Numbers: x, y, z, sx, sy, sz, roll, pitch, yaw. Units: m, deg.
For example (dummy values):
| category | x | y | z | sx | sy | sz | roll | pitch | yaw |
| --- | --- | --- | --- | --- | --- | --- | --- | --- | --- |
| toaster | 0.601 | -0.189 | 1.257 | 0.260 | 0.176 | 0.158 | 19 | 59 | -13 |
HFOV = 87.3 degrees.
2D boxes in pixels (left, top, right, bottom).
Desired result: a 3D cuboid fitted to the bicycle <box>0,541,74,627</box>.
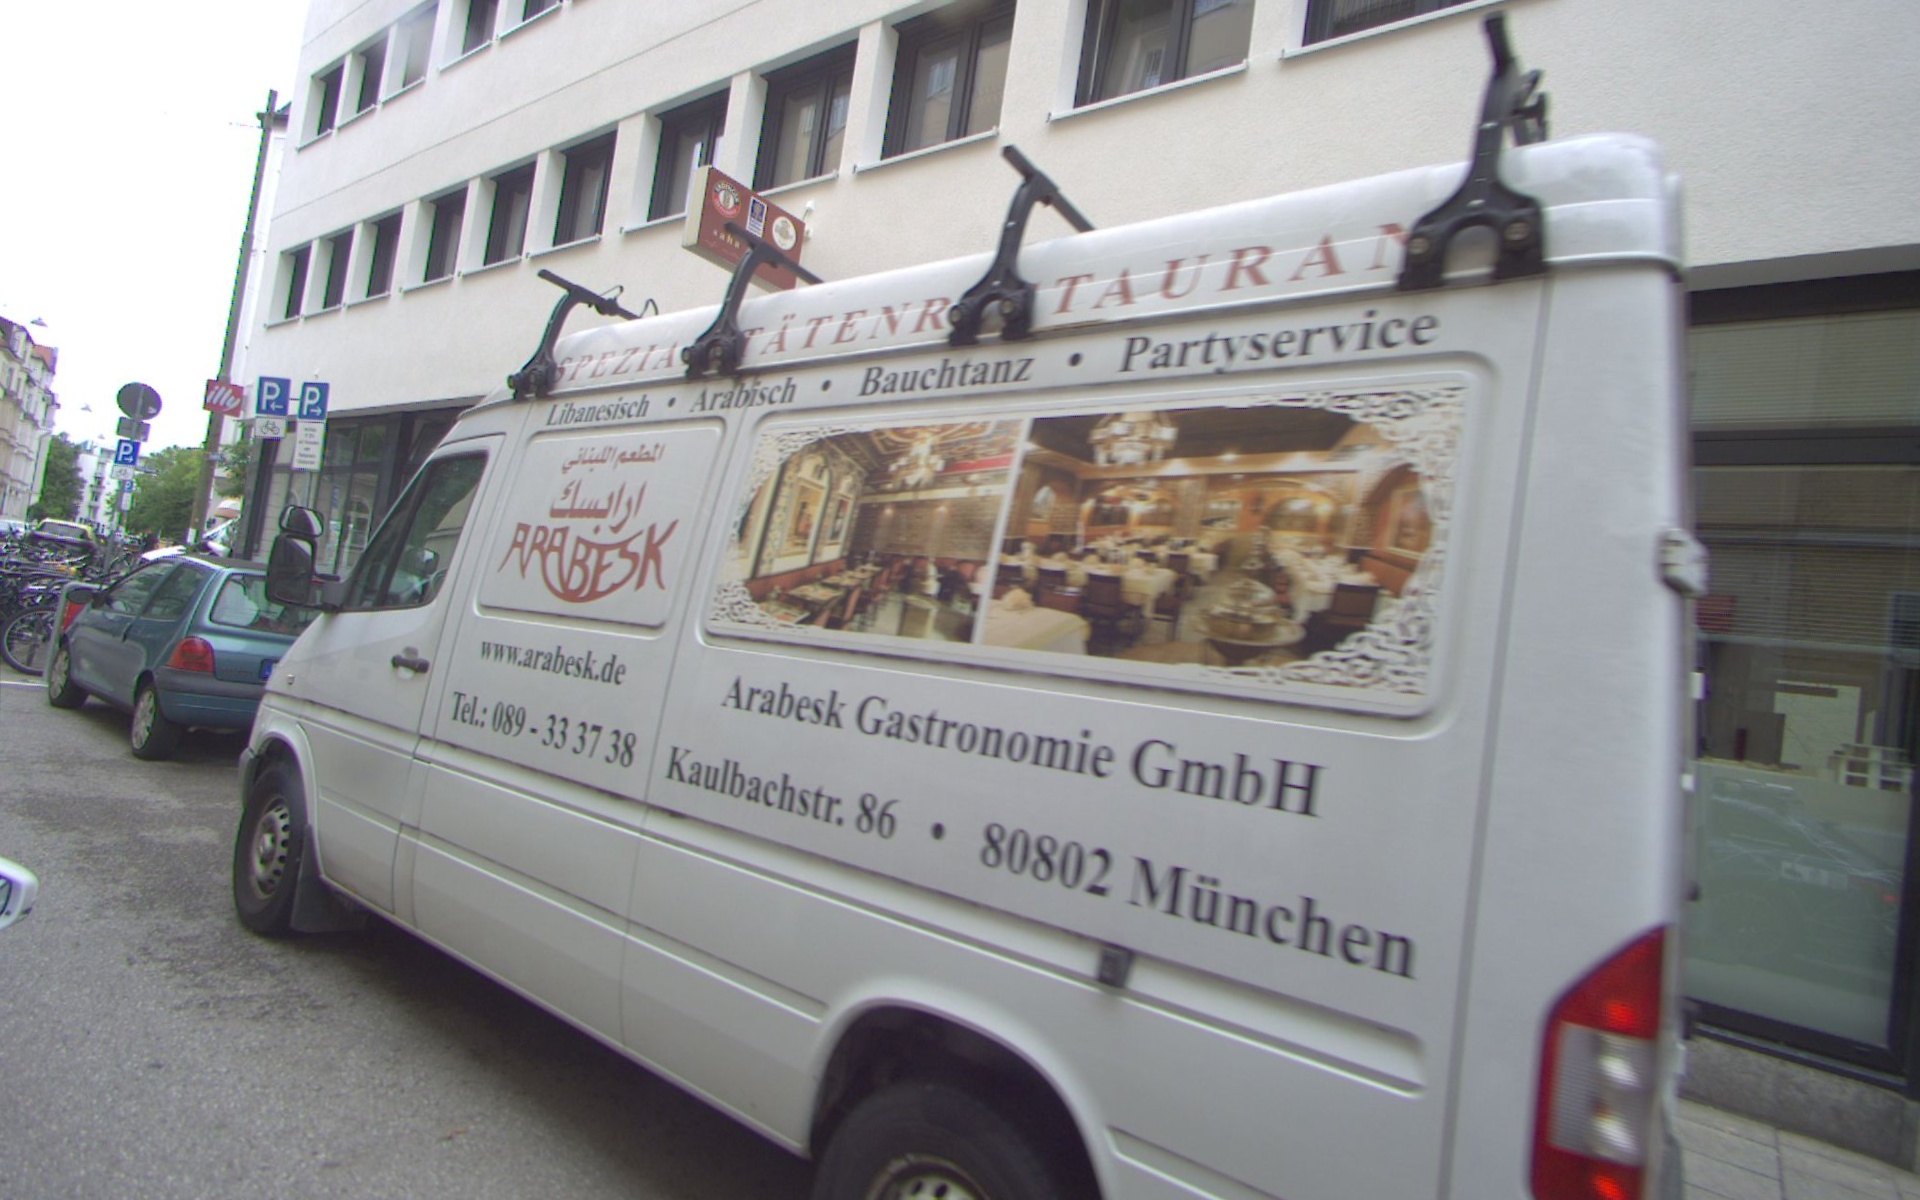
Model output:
| category | x | y | z | sx | sy | sz | roll | pitch | yaw |
| --- | --- | --- | --- | --- | --- | --- | --- | --- | --- |
| bicycle | -13.569 | -0.290 | 14.065 | 0.372 | 1.091 | 1.616 | 8 | -3 | 35 |

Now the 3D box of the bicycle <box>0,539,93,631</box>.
| category | x | y | z | sx | sy | sz | roll | pitch | yaw |
| --- | --- | --- | --- | --- | --- | --- | --- | --- | --- |
| bicycle | -12.943 | -0.266 | 13.458 | 0.396 | 1.091 | 1.878 | 8 | -3 | 35 |

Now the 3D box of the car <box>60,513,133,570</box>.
| category | x | y | z | sx | sy | sz | roll | pitch | yaw |
| --- | --- | --- | --- | --- | --- | --- | --- | --- | --- |
| car | -36.470 | -2.441 | 42.583 | 1.815 | 1.889 | 4.246 | 14 | -6 | -37 |

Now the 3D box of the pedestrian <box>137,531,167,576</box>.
| category | x | y | z | sx | sy | sz | roll | pitch | yaw |
| --- | --- | --- | --- | --- | --- | --- | --- | --- | --- |
| pedestrian | -36.808 | -2.114 | 45.819 | 0.775 | 1.871 | 1.013 | 10 | -3 | -37 |

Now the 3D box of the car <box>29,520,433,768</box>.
| category | x | y | z | sx | sy | sz | roll | pitch | yaw |
| --- | --- | --- | --- | --- | --- | --- | --- | --- | --- |
| car | -6.051 | 0.302 | 8.234 | 3.498 | 1.479 | 1.582 | 6 | -4 | 37 |

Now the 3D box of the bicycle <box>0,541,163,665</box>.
| category | x | y | z | sx | sy | sz | roll | pitch | yaw |
| --- | --- | --- | --- | --- | --- | --- | --- | --- | --- |
| bicycle | -10.404 | 0.013 | 11.441 | 0.556 | 1.168 | 1.878 | 8 | -5 | 36 |

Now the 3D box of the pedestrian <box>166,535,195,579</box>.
| category | x | y | z | sx | sy | sz | roll | pitch | yaw |
| --- | --- | --- | --- | --- | --- | --- | --- | --- | --- |
| pedestrian | -35.702 | -1.948 | 46.077 | 0.775 | 1.871 | 1.013 | 10 | -3 | -37 |

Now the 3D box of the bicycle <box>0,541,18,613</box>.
| category | x | y | z | sx | sy | sz | roll | pitch | yaw |
| --- | --- | --- | --- | --- | --- | --- | --- | --- | --- |
| bicycle | -15.284 | -0.456 | 15.117 | 0.455 | 1.080 | 1.456 | 7 | -4 | 31 |

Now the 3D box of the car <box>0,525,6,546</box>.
| category | x | y | z | sx | sy | sz | roll | pitch | yaw |
| --- | --- | --- | --- | --- | --- | --- | --- | --- | --- |
| car | -58.884 | -4.060 | 60.338 | 1.900 | 1.235 | 3.959 | 12 | -5 | -38 |

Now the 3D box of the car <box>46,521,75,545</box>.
| category | x | y | z | sx | sy | sz | roll | pitch | yaw |
| --- | --- | --- | --- | --- | --- | --- | --- | --- | --- |
| car | -93.561 | -6.956 | 104.652 | 1.840 | 2.035 | 3.958 | 11 | -4 | -39 |

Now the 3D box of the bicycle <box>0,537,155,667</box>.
| category | x | y | z | sx | sy | sz | roll | pitch | yaw |
| --- | --- | --- | --- | --- | --- | --- | --- | --- | --- |
| bicycle | -10.014 | -0.007 | 10.844 | 0.481 | 1.217 | 1.877 | 8 | -3 | 36 |

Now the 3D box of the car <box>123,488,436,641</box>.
| category | x | y | z | sx | sy | sz | roll | pitch | yaw |
| --- | --- | --- | --- | --- | --- | --- | --- | --- | --- |
| car | -16.664 | -0.769 | 24.975 | 2.032 | 2.618 | 5.892 | 7 | -4 | 43 |

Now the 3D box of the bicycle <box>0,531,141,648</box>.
| category | x | y | z | sx | sy | sz | roll | pitch | yaw |
| --- | --- | --- | --- | --- | --- | --- | --- | --- | --- |
| bicycle | -10.989 | -0.153 | 11.844 | 0.571 | 1.217 | 1.876 | 7 | -3 | 36 |

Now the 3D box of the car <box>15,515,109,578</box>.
| category | x | y | z | sx | sy | sz | roll | pitch | yaw |
| --- | --- | --- | --- | --- | --- | --- | --- | --- | --- |
| car | -30.365 | -1.779 | 34.131 | 1.815 | 1.651 | 4.246 | 14 | -6 | -37 |

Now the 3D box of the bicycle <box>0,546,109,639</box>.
| category | x | y | z | sx | sy | sz | roll | pitch | yaw |
| --- | --- | --- | --- | --- | --- | --- | --- | --- | --- |
| bicycle | -12.395 | -0.151 | 13.054 | 0.555 | 1.062 | 1.877 | 5 | -5 | 35 |

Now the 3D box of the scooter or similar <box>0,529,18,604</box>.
| category | x | y | z | sx | sy | sz | roll | pitch | yaw |
| --- | --- | --- | --- | --- | --- | --- | --- | --- | --- |
| scooter or similar | -16.471 | -0.660 | 16.465 | 0.411 | 1.222 | 1.353 | 6 | -4 | 40 |

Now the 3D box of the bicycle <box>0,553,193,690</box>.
| category | x | y | z | sx | sy | sz | roll | pitch | yaw |
| --- | --- | --- | --- | --- | --- | --- | --- | --- | --- |
| bicycle | -8.848 | 0.199 | 9.891 | 0.481 | 1.090 | 1.879 | 8 | -5 | 36 |

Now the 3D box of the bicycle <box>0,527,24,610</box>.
| category | x | y | z | sx | sy | sz | roll | pitch | yaw |
| --- | --- | --- | --- | --- | --- | --- | --- | --- | --- |
| bicycle | -15.924 | -0.619 | 15.892 | 0.439 | 1.298 | 1.458 | 6 | -4 | 40 |

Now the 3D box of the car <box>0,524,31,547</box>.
| category | x | y | z | sx | sy | sz | roll | pitch | yaw |
| --- | --- | --- | --- | --- | --- | --- | --- | --- | --- |
| car | -69.682 | -4.753 | 73.912 | 1.729 | 1.434 | 3.956 | 12 | -5 | -40 |

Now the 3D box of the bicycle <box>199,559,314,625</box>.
| category | x | y | z | sx | sy | sz | roll | pitch | yaw |
| --- | --- | --- | --- | --- | --- | --- | --- | --- | --- |
| bicycle | -15.703 | -0.165 | 22.483 | 0.584 | 1.139 | 1.901 | 6 | -5 | 43 |

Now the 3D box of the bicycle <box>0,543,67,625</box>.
| category | x | y | z | sx | sy | sz | roll | pitch | yaw |
| --- | --- | --- | --- | --- | --- | --- | --- | --- | --- |
| bicycle | -14.192 | -0.311 | 14.548 | 0.445 | 1.091 | 1.744 | 8 | -3 | 35 |

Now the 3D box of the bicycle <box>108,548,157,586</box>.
| category | x | y | z | sx | sy | sz | roll | pitch | yaw |
| --- | --- | --- | --- | --- | --- | --- | --- | --- | --- |
| bicycle | -26.671 | -1.071 | 32.423 | 1.725 | 1.011 | 0.540 | 7 | 0 | 29 |

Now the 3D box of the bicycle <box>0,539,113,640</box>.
| category | x | y | z | sx | sy | sz | roll | pitch | yaw |
| --- | --- | --- | --- | --- | --- | --- | --- | --- | --- |
| bicycle | -11.908 | -0.182 | 12.545 | 0.433 | 1.107 | 1.877 | 8 | -3 | 35 |

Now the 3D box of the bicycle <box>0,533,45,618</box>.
| category | x | y | z | sx | sy | sz | roll | pitch | yaw |
| --- | --- | --- | --- | --- | --- | --- | --- | --- | --- |
| bicycle | -14.786 | -0.451 | 15.027 | 0.389 | 1.220 | 1.456 | 7 | -4 | 31 |

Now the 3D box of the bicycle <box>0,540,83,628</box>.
| category | x | y | z | sx | sy | sz | roll | pitch | yaw |
| --- | --- | --- | --- | --- | --- | --- | --- | --- | --- |
| bicycle | -13.302 | -0.294 | 13.701 | 0.402 | 1.091 | 1.878 | 8 | -3 | 35 |

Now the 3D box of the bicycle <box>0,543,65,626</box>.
| category | x | y | z | sx | sy | sz | roll | pitch | yaw |
| --- | --- | --- | --- | --- | --- | --- | --- | --- | --- |
| bicycle | -13.910 | -0.289 | 14.248 | 0.331 | 1.091 | 1.678 | 8 | -3 | 35 |

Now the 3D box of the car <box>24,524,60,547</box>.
| category | x | y | z | sx | sy | sz | roll | pitch | yaw |
| --- | --- | --- | --- | --- | --- | --- | --- | --- | --- |
| car | -82.399 | -5.769 | 90.339 | 1.988 | 1.590 | 3.956 | 12 | -5 | -40 |

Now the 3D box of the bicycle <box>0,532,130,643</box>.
| category | x | y | z | sx | sy | sz | roll | pitch | yaw |
| --- | --- | --- | --- | --- | --- | --- | --- | --- | --- |
| bicycle | -11.462 | -0.195 | 12.241 | 0.557 | 1.182 | 1.896 | 7 | -3 | 36 |

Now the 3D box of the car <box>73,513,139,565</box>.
| category | x | y | z | sx | sy | sz | roll | pitch | yaw |
| --- | --- | --- | --- | --- | --- | --- | --- | --- | --- |
| car | -39.288 | -2.764 | 46.379 | 1.815 | 1.942 | 4.142 | 14 | -6 | -37 |

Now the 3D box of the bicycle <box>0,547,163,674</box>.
| category | x | y | z | sx | sy | sz | roll | pitch | yaw |
| --- | --- | --- | --- | --- | --- | --- | --- | --- | --- |
| bicycle | -9.642 | 0.083 | 10.498 | 0.481 | 1.119 | 1.878 | 8 | -5 | 36 |

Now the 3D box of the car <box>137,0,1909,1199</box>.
| category | x | y | z | sx | sy | sz | roll | pitch | yaw |
| --- | --- | --- | --- | --- | --- | --- | --- | --- | --- |
| car | -0.788 | 0.303 | 3.729 | 5.907 | 2.531 | 1.924 | 6 | -5 | 38 |
